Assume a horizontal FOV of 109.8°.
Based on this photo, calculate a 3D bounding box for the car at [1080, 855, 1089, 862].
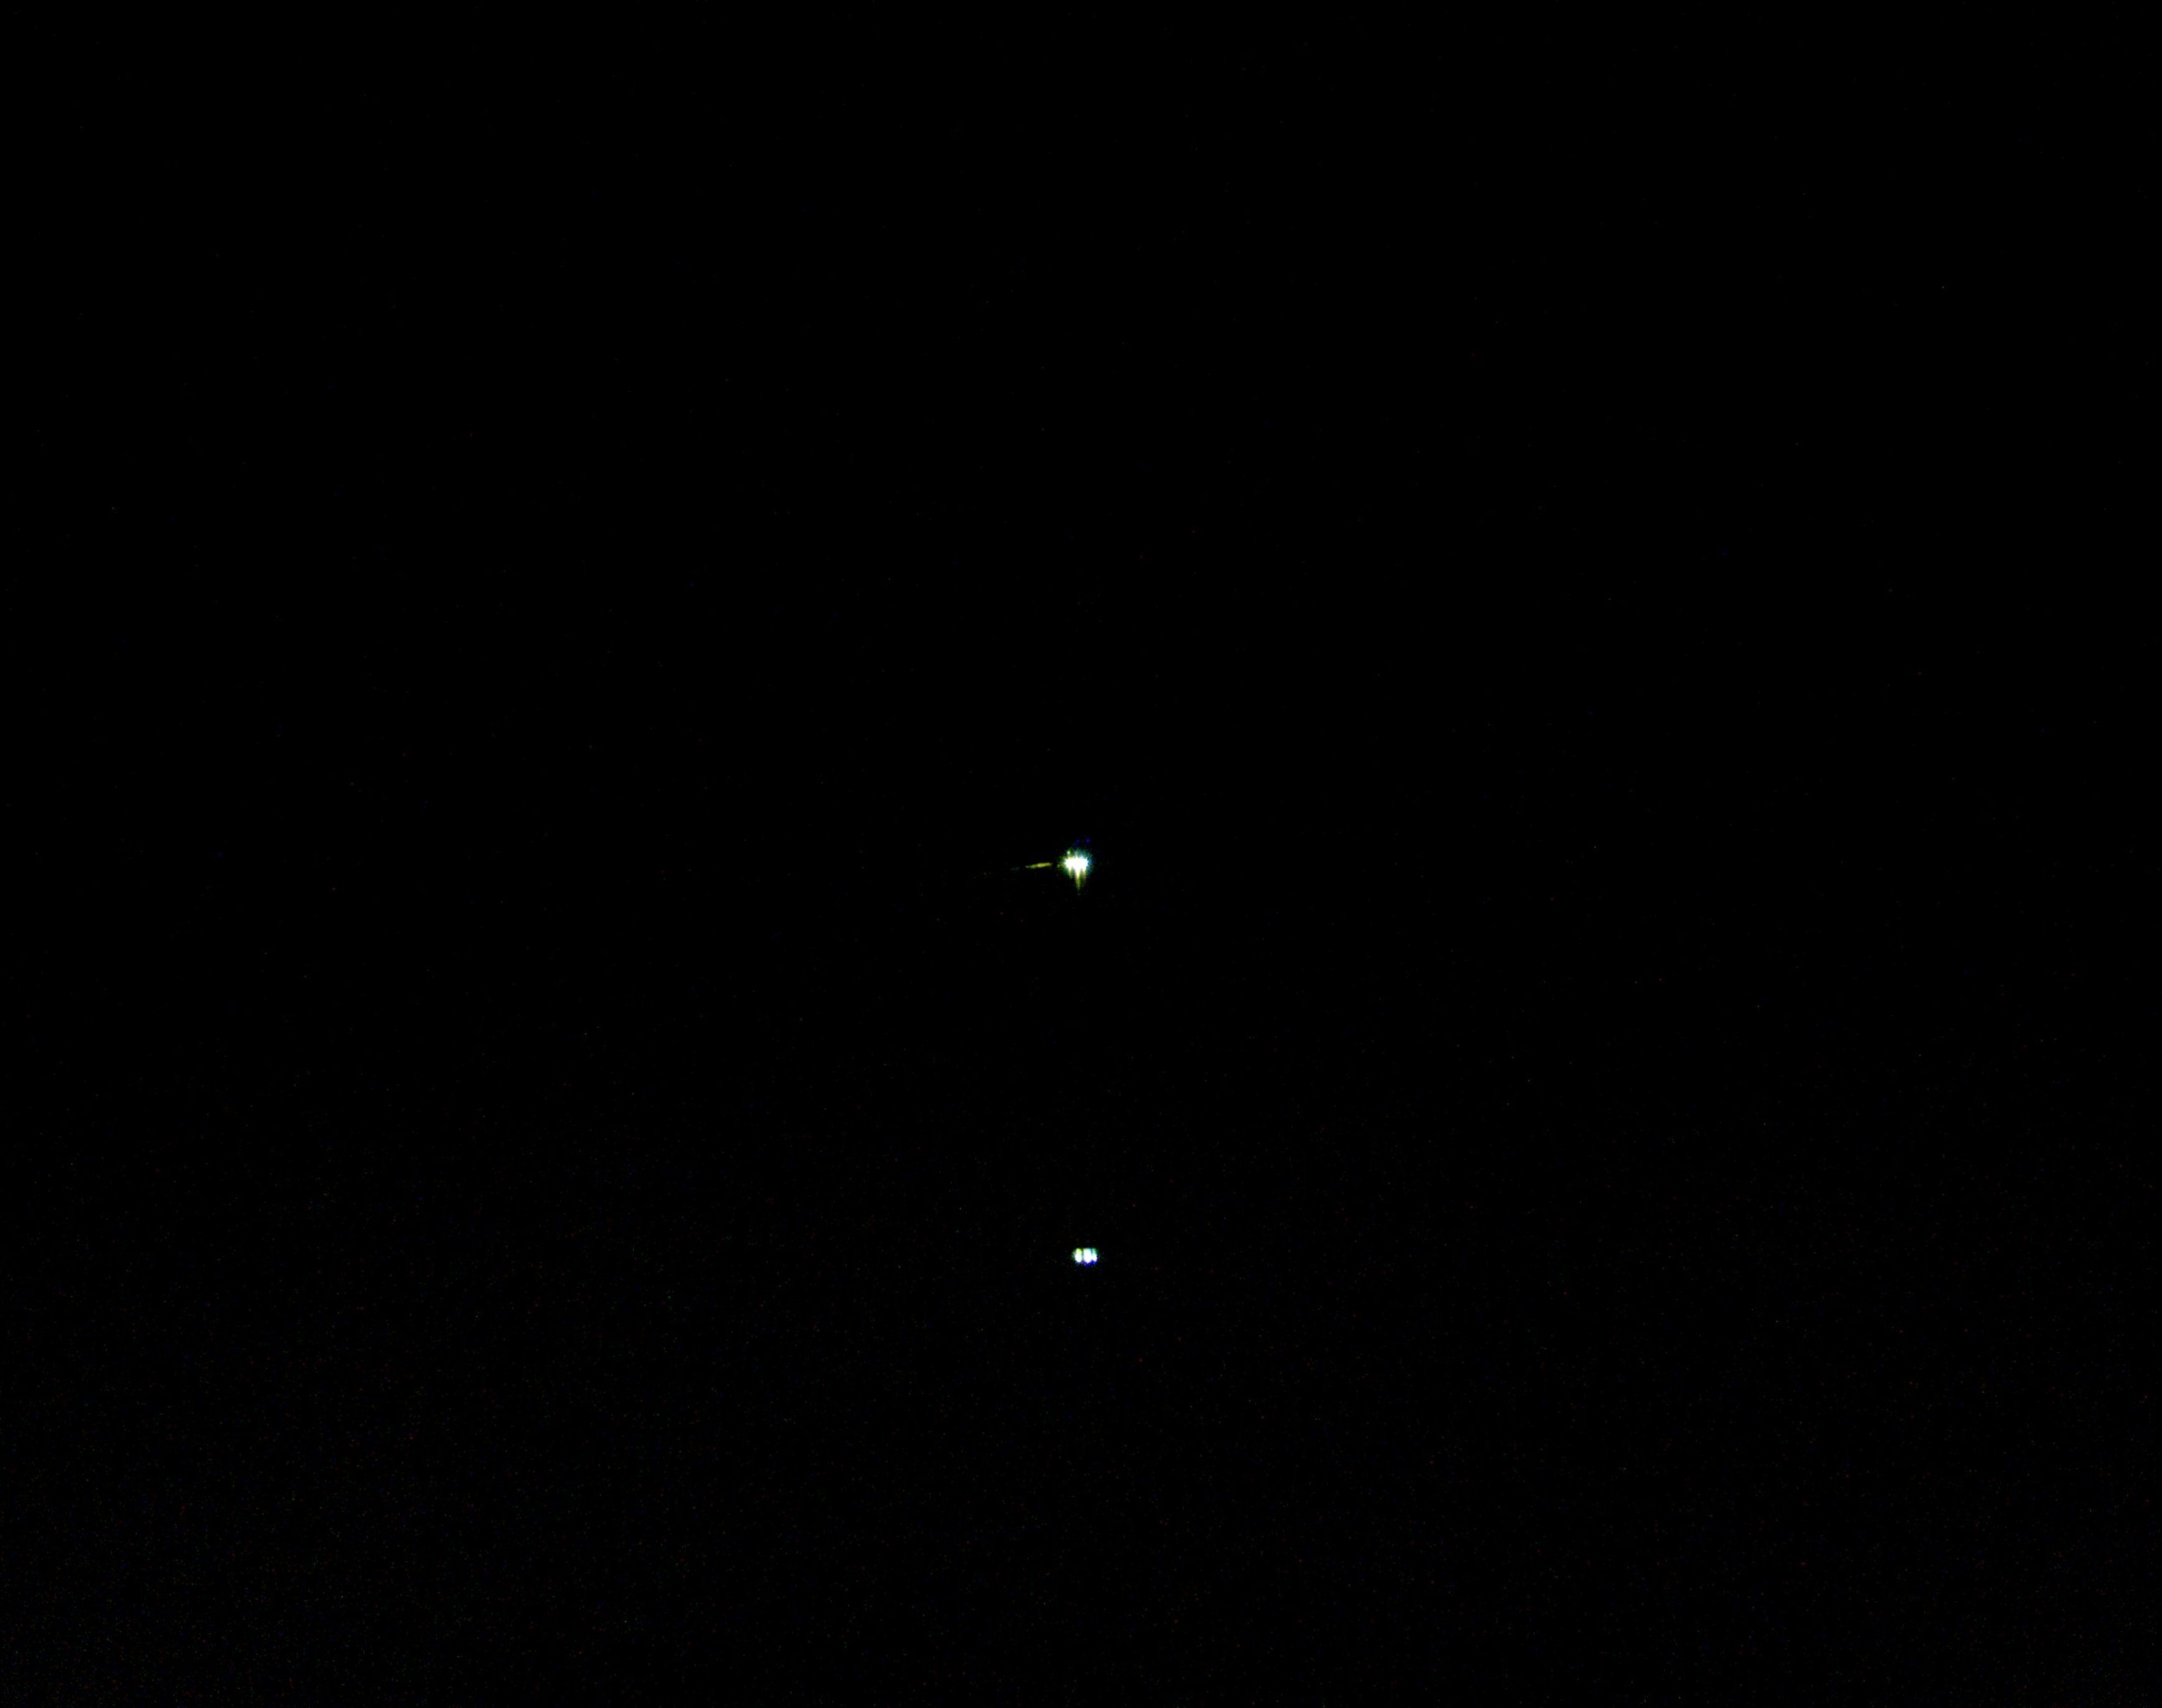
[{"bbox_3d":[0.760,0.989,177.069,1.845,1.474,4.293,-3,-1,2],"label":"car"}]

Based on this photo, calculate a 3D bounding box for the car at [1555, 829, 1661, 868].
[{"bbox_3d":[23.133,-0.231,33.554,1.901,1.553,4.000,-2,0,1],"label":"car"}]

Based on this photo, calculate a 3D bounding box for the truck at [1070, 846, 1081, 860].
[{"bbox_3d":[-1.546,-0.234,229.909,3.004,3.876,12.888,-3,-1,0],"label":"truck"}]
